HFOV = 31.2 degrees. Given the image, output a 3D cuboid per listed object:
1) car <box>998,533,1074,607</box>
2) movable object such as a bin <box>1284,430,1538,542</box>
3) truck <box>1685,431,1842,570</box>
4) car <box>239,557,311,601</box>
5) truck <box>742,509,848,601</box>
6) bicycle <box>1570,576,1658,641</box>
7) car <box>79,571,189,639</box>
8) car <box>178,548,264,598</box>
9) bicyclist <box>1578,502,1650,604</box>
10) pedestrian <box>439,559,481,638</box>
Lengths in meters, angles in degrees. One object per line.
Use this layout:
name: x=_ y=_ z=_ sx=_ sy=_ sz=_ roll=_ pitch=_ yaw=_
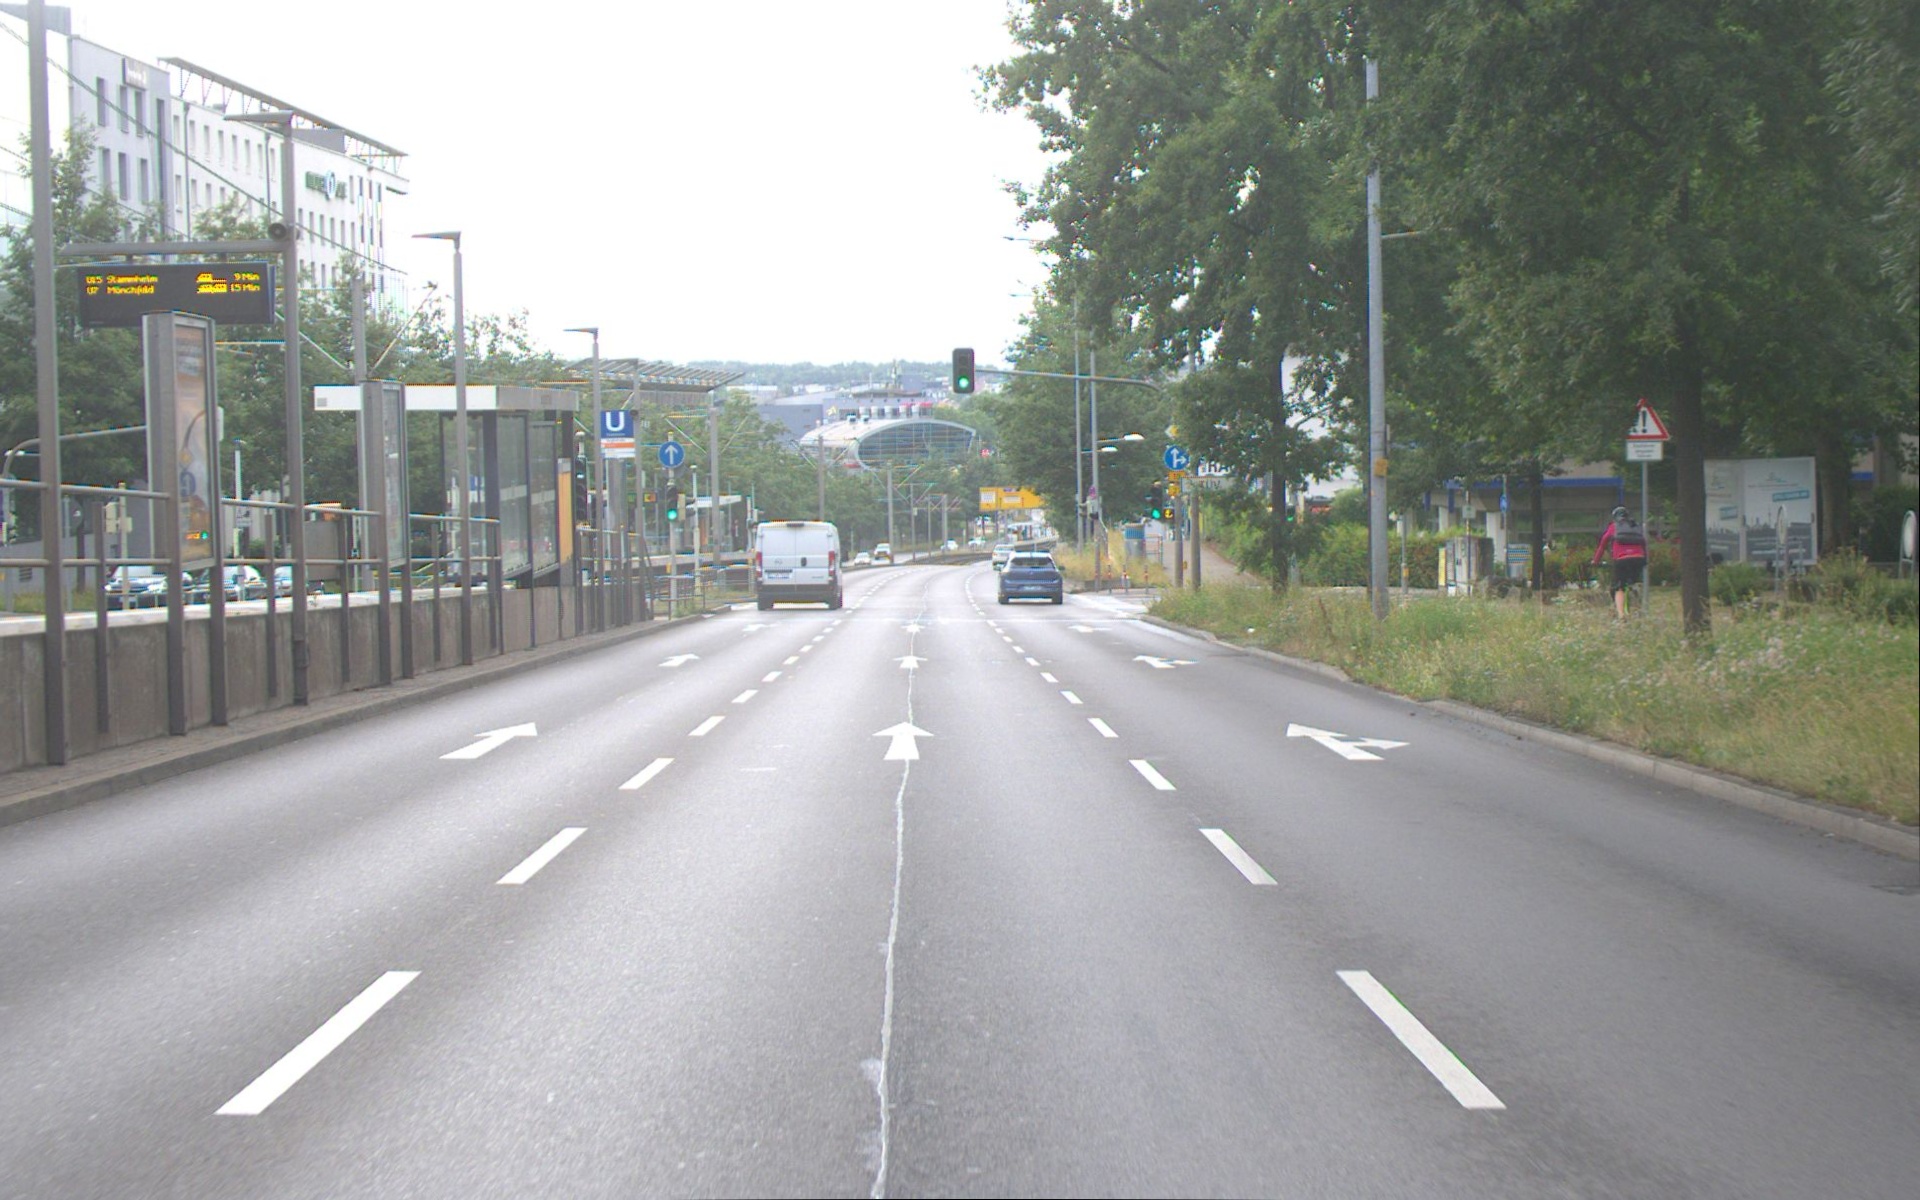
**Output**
car: x=2.154 y=-0.846 z=96.857 sx=1.994 sy=2.007 sz=3.934 roll=1 pitch=1 yaw=3
movable object such as a bin: x=22.585 y=-5.707 z=172.748 sx=12.141 sy=5.243 sz=3.789 roll=-1 pitch=0 yaw=1
truck: x=15.079 y=-1.837 z=64.670 sx=1.746 sy=2.509 sz=4.001 roll=1 pitch=1 yaw=-4
car: x=-23.307 y=-0.736 z=117.020 sx=1.728 sy=1.418 sz=3.780 roll=-1 pitch=1 yaw=-1
truck: x=-4.212 y=-1.153 z=88.392 sx=2.360 sy=2.254 sz=5.306 roll=1 pitch=1 yaw=1
bicycle: x=8.448 y=0.097 z=44.499 sx=0.667 sy=0.806 sz=2.318 roll=1 pitch=1 yaw=-1
car: x=-22.830 y=0.123 z=95.135 sx=1.993 sy=1.768 sz=4.389 roll=-1 pitch=1 yaw=0
car: x=-22.771 y=-0.853 z=106.089 sx=1.853 sy=1.422 sz=4.389 roll=-2 pitch=1 yaw=-3
bicyclist: x=8.438 y=-0.613 z=44.420 sx=0.655 sy=1.284 sz=1.219 roll=1 pitch=1 yaw=-1
pedestrian: x=-10.588 y=-0.038 z=72.862 sx=0.700 sy=1.645 sz=0.649 roll=-1 pitch=2 yaw=-29
